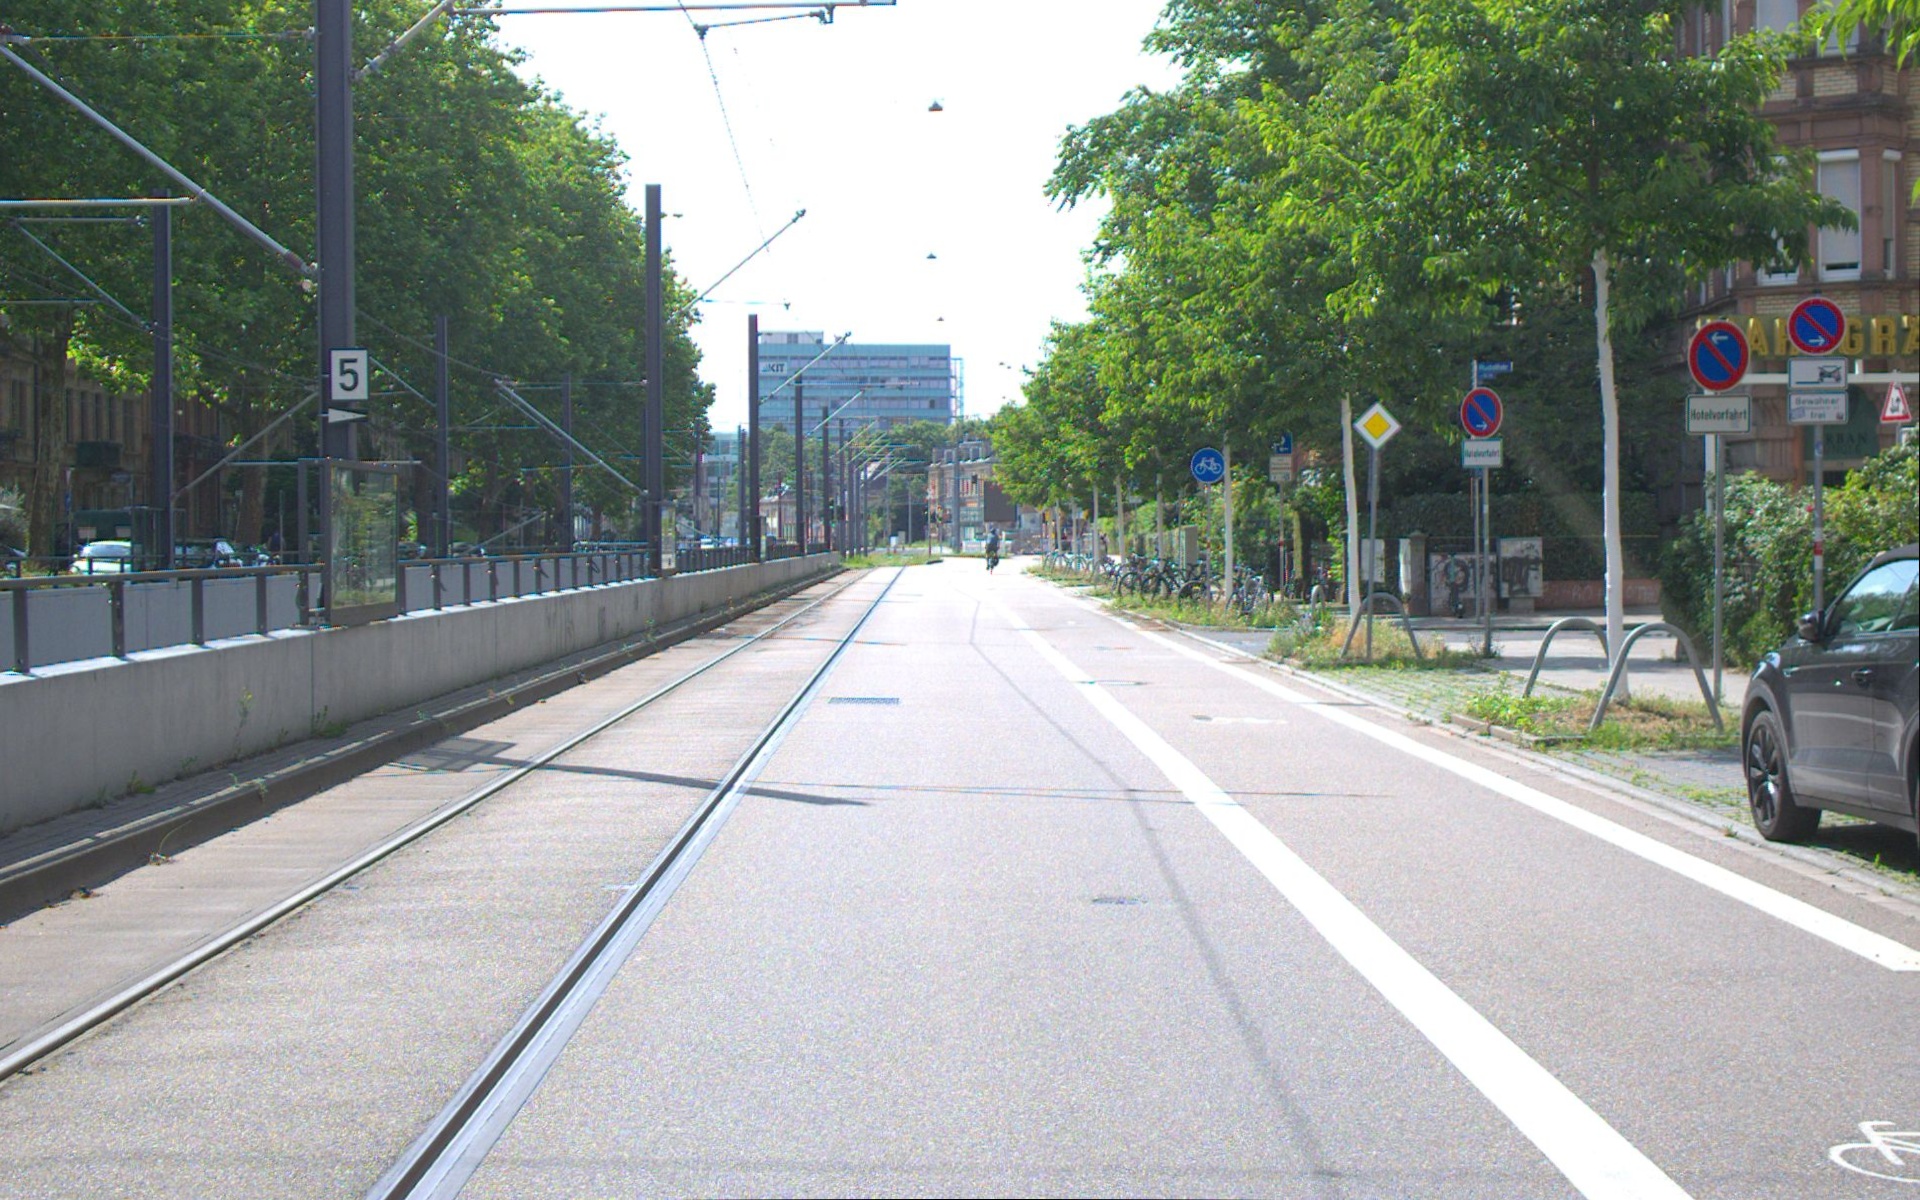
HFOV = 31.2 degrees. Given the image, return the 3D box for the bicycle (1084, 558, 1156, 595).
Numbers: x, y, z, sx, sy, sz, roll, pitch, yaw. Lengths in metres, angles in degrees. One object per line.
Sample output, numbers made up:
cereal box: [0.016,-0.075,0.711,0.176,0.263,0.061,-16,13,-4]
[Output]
bicycle: [4.239,-0.628,91.056,1.816,0.899,0.604,-3,1,-3]

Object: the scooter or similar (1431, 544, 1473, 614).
scooter or similar: [8.339,-0.358,58.342,0.461,1.154,1.573,-1,1,0]

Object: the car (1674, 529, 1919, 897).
car: [4.869,0.444,16.090,1.798,1.521,4.490,-2,1,-4]

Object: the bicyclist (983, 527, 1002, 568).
bicyclist: [1.366,-2.209,144.004,0.770,1.724,1.026,0,1,0]

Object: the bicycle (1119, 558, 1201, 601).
bicycle: [4.641,-0.470,79.791,1.816,0.899,0.604,-3,1,-3]

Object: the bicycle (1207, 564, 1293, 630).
bicycle: [4.803,-0.057,57.041,0.649,1.035,1.822,-3,2,-22]

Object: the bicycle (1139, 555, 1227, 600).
bicycle: [4.856,-0.496,74.854,1.816,0.899,0.652,-3,1,-3]

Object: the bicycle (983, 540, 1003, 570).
bicycle: [1.369,-1.881,144.061,0.799,1.232,2.778,0,1,0]

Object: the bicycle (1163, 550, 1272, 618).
bicycle: [4.663,-0.299,62.213,1.815,1.141,0.652,-3,1,-11]

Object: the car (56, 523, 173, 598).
car: [-20.778,-0.992,84.625,1.839,1.722,4.000,-3,1,0]
